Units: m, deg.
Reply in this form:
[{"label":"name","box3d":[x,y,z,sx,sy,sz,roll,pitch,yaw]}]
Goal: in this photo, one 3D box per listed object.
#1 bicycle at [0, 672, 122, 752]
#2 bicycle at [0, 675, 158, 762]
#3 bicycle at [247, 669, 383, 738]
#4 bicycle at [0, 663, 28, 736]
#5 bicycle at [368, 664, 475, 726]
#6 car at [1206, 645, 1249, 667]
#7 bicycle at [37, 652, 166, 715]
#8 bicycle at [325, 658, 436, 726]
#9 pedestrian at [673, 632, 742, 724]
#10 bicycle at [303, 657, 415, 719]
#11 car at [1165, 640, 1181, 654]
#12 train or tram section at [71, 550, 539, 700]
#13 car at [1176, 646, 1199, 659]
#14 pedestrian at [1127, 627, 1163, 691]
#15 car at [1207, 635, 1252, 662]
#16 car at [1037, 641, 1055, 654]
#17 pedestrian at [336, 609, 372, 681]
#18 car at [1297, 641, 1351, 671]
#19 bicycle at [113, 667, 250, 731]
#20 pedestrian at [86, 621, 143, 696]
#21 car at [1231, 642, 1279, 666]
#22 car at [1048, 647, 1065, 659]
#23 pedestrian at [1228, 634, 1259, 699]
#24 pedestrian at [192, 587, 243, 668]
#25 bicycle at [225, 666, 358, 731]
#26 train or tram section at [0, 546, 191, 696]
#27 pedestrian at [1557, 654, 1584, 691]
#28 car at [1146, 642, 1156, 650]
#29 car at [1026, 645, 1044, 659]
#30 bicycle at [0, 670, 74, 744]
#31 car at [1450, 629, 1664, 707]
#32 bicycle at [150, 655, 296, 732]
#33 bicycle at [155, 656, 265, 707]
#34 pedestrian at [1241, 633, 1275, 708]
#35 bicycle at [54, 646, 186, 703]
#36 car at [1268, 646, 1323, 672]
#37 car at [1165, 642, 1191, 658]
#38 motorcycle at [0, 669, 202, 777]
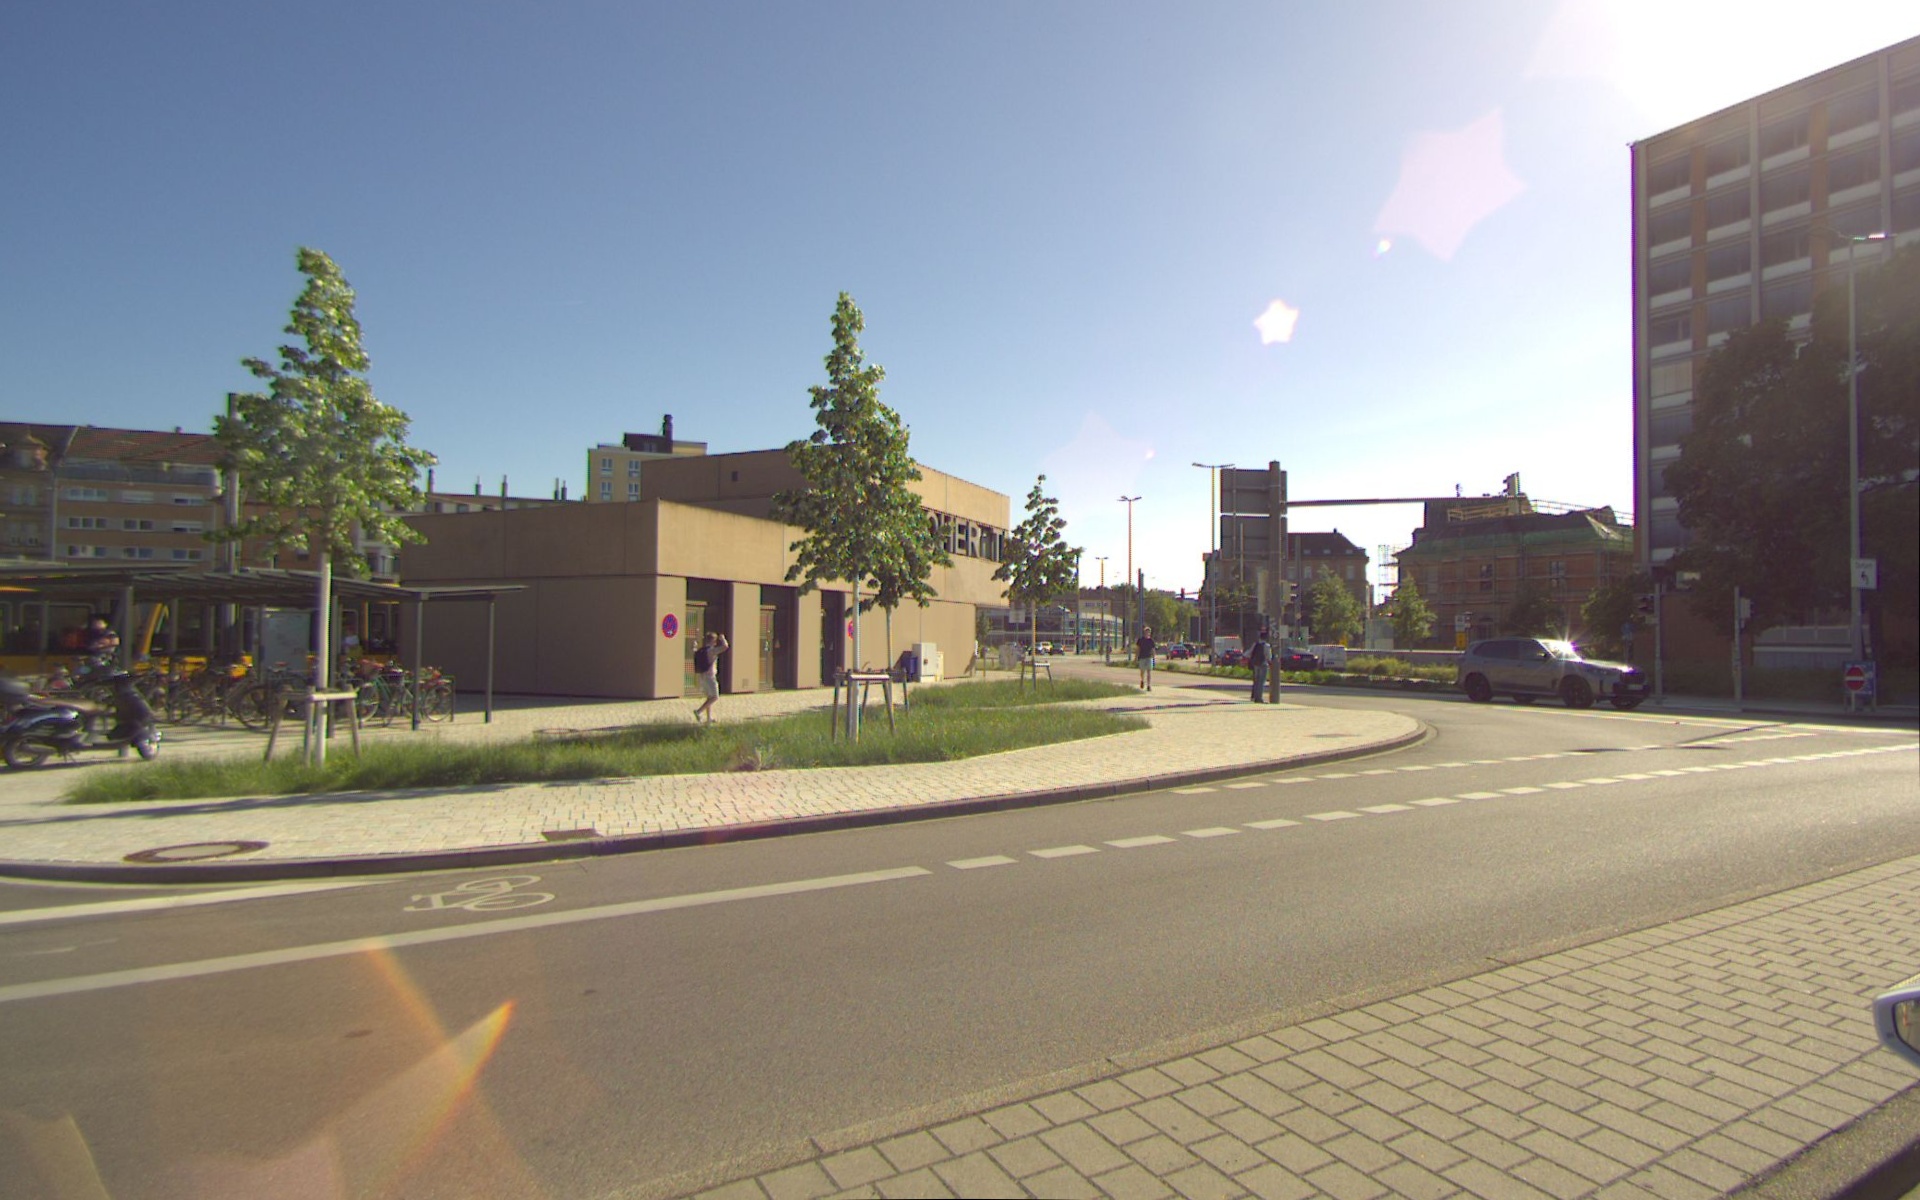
[{"label":"bicycle","box3d":[-13.115,1.561,14.078,0.617,1.021,2.026,0,-2,25]},{"label":"bicycle","box3d":[-12.032,1.562,13.526,0.617,1.021,1.829,0,-2,25]},{"label":"bicycle","box3d":[-10.666,1.682,16.689,0.617,1.021,1.828,0,-2,27]},{"label":"bicycle","box3d":[-15.266,1.519,15.017,0.617,1.094,1.829,0,-2,25]},{"label":"bicycle","box3d":[-9.816,1.713,18.389,0.616,1.021,1.832,0,-2,16]},{"label":"car","box3d":[20.066,4.216,75.506,1.962,1.538,3.818,1,-2,-4]},{"label":"bicycle","box3d":[-16.905,1.614,19.835,0.617,1.146,1.828,0,-2,27]},{"label":"bicycle","box3d":[-10.736,1.679,18.689,0.616,1.161,1.831,0,-2,18]},{"label":"pedestrian","box3d":[-4.913,1.483,19.565,0.826,1.727,1.020,-1,-2,40]},{"label":"bicycle","box3d":[-11.740,1.691,19.694,0.617,1.107,1.829,0,-2,25]},{"label":"car","box3d":[32.403,7.128,152.548,2.024,2.039,4.003,-2,-4,15]},{"label":"train or tram section","box3d":[-18.771,0.830,30.589,2.702,3.648,12.318,0,-2,25]},{"label":"car","box3d":[27.307,6.308,120.536,2.024,1.458,4.060,0,-2,2]},{"label":"pedestrian","box3d":[5.519,1.751,30.034,0.826,1.869,0.866,1,-2,-7]},{"label":"car","box3d":[26.809,4.798,100.307,2.952,2.580,6.961,0,-2,3]},{"label":"car","box3d":[12.025,6.593,140.761,1.865,1.728,4.003,0,-2,14]},{"label":"pedestrian","box3d":[-16.251,1.205,26.927,0.671,1.880,0.602,1,-2,-19]},{"label":"car","box3d":[26.069,3.981,72.058,2.031,2.040,5.016,0,-2,0]},{"label":"bicycle","box3d":[-13.859,1.745,17.943,0.617,1.021,1.828,0,-2,27]},{"label":"pedestrian","box3d":[-19.302,1.323,22.946,0.593,1.681,0.772,0,-2,23]},{"label":"car","box3d":[20.258,3.680,69.035,1.962,1.538,3.818,1,-2,-4]},{"label":"car","box3d":[12.154,6.706,126.724,1.960,1.407,4.002,0,-3,2]},{"label":"pedestrian","box3d":[7.598,1.772,26.957,0.594,1.719,0.634,1,-2,-7]},{"label":"pedestrian","box3d":[-17.559,0.653,23.768,0.738,1.880,0.709,1,-2,-19]},{"label":"bicycle","box3d":[-11.609,1.683,17.506,0.492,1.010,1.887,0,-2,31]},{"label":"train or tram section","box3d":[-25.525,0.450,23.287,2.779,3.648,12.320,0,-2,24]},{"label":"pedestrian","box3d":[34.153,4.074,56.194,0.996,2.040,0.825,1,-2,-6]},{"label":"car","box3d":[43.378,10.347,227.733,1.959,1.695,4.003,0,-2,14]},{"label":"car","box3d":[9.747,6.778,130.769,1.960,1.814,4.001,1,-2,0]},{"label":"bicycle","box3d":[-14.099,1.553,14.518,0.617,1.021,1.829,0,-2,25]},{"label":"car","box3d":[15.675,1.718,26.707,1.975,1.885,4.720,1,-2,-21]},{"label":"bicycle","box3d":[-12.882,1.603,17.634,0.496,1.225,2.051,0,-2,26]},{"label":"bicycle","box3d":[-16.251,1.738,21.810,0.617,1.021,1.829,0,-2,25]},{"label":"pedestrian","box3d":[7.603,1.780,25.640,0.594,1.880,0.681,1,-2,-7]},{"label":"bicycle","box3d":[-15.986,1.395,19.172,0.617,1.021,1.828,0,-2,27]},{"label":"car","box3d":[20.834,3.654,62.516,1.962,1.538,3.818,1,-2,-4]},{"label":"car","box3d":[23.485,5.358,108.309,2.059,1.602,4.861,0,-2,3]},{"label":"motorcycle","box3d":[-10.914,1.481,12.481,0.599,1.173,2.360,0,-2,25]}]
